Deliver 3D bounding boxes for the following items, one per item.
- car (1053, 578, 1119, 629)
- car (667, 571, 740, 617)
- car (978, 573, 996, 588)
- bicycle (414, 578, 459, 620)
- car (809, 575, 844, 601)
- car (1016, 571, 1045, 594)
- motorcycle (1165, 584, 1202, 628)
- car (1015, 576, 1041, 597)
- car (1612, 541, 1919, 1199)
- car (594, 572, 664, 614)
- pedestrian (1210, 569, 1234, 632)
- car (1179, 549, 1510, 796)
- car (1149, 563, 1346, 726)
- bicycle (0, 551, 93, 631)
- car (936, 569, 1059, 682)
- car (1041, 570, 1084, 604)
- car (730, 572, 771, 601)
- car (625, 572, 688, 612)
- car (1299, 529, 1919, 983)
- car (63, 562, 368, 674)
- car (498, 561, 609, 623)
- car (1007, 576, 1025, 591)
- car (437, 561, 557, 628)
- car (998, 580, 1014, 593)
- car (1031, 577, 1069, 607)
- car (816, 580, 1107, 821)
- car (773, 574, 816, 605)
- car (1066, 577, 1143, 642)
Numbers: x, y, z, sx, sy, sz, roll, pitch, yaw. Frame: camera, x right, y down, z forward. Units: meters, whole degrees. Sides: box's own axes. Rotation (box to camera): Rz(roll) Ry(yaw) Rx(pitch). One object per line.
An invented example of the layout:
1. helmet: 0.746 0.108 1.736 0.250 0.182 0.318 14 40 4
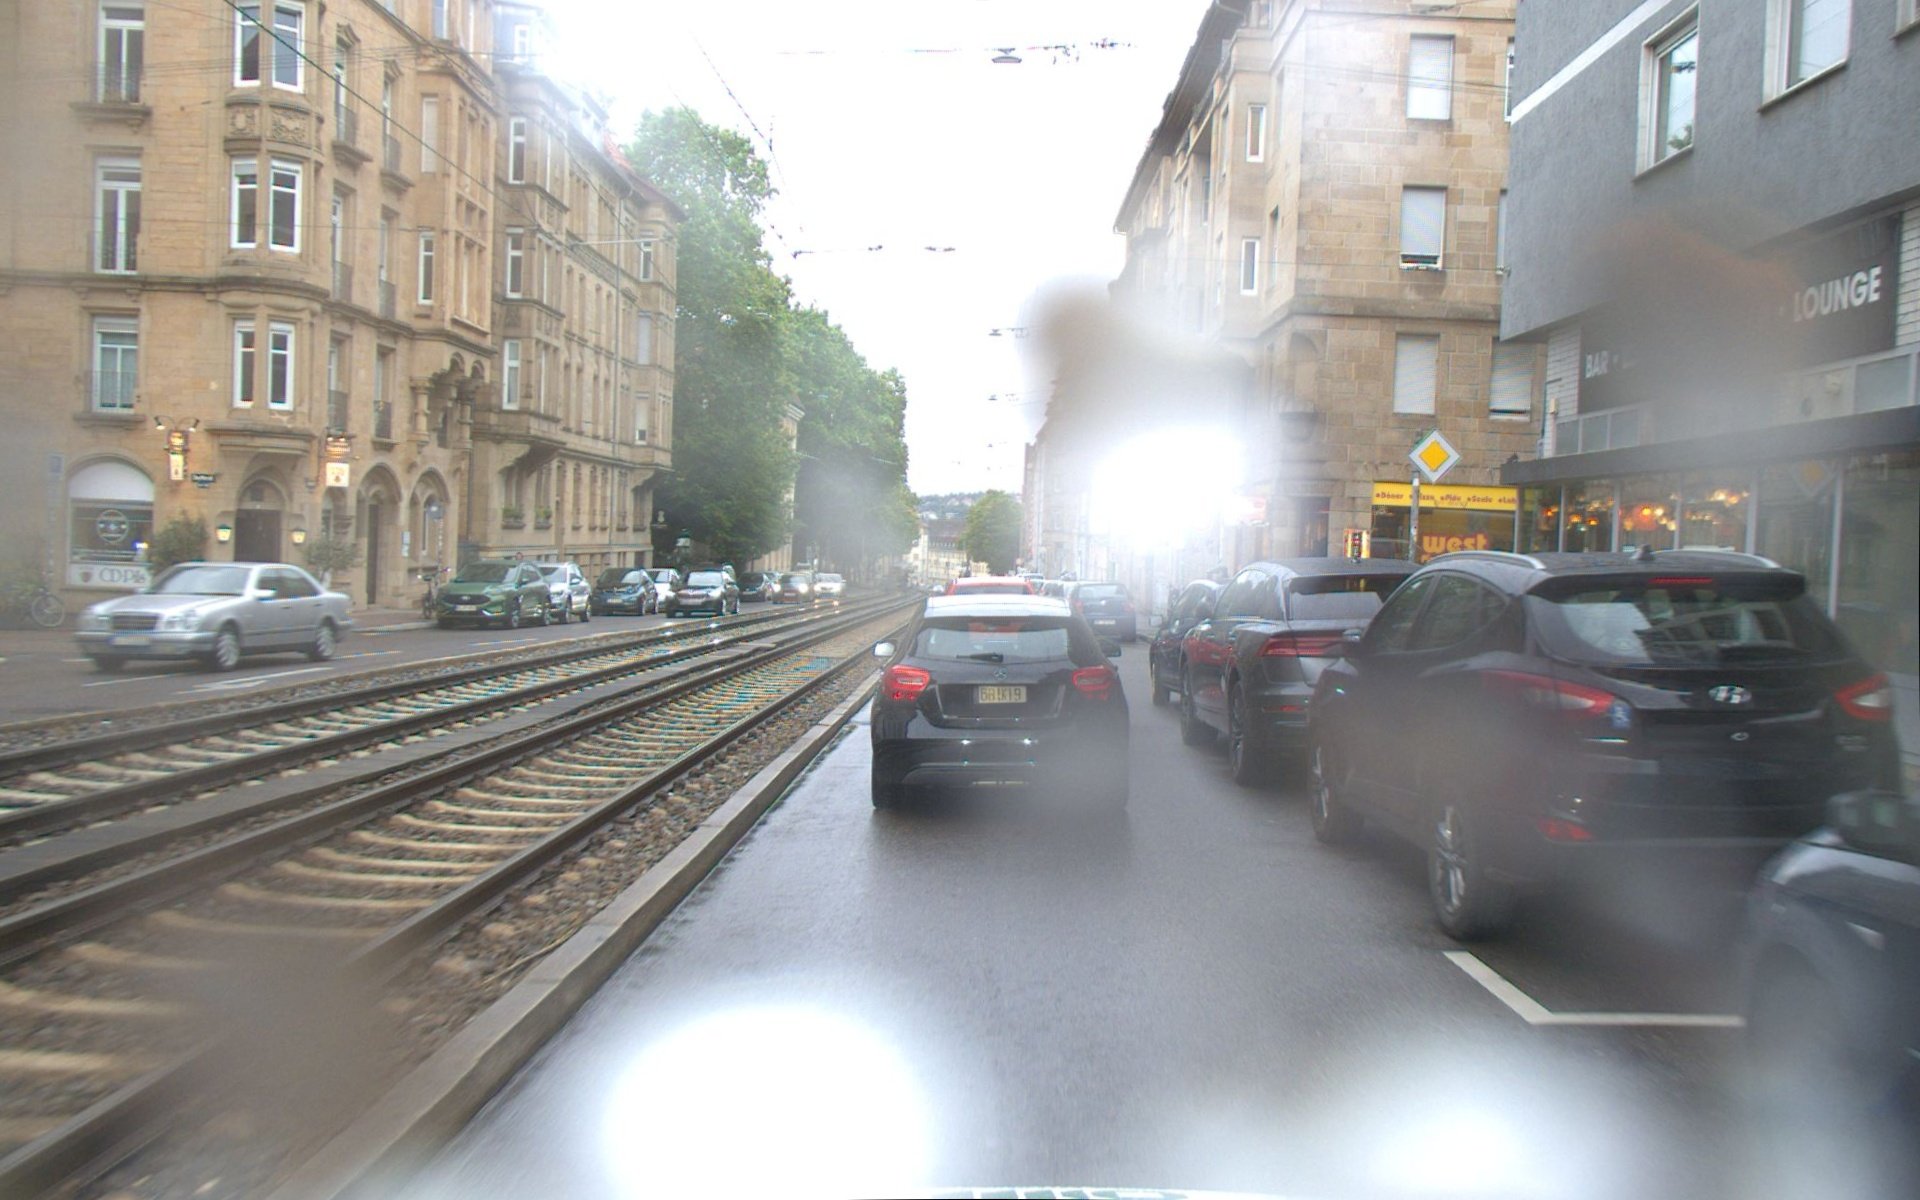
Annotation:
1. car: 3.439 0.067 45.718 1.580 1.340 4.001 0 1 1
2. car: -8.236 -0.203 53.281 1.660 1.412 3.482 0 1 2
3. car: 2.421 -1.781 149.437 1.580 1.340 4.001 0 1 1
4. bicycle: -13.238 -0.033 41.860 0.586 1.018 2.078 0 1 -3
5. car: -7.710 -0.709 95.773 1.536 1.438 3.482 0 1 2
6. car: 4.103 -1.039 96.977 1.580 1.340 4.001 0 1 1
7. motorcycle: 7.138 0.183 53.025 0.862 1.338 2.396 1 1 1
8. car: 4.407 -0.873 108.074 1.580 1.340 4.001 0 1 1
9. car: 2.841 0.689 2.710 1.729 1.586 4.746 1 1 1
10. car: -11.129 -0.248 55.793 1.536 1.339 3.482 0 1 2
11. pedestrian: 6.254 0.013 39.453 0.445 1.492 0.610 1 0 0
12. car: 2.972 0.470 13.798 1.714 1.699 4.704 0 1 1
13. car: 3.143 0.422 18.774 1.580 1.633 4.001 0 1 1
14. bicycle: -19.912 -0.204 34.241 3.087 1.612 1.595 0 1 -9
15. car: 0.527 0.305 24.337 1.615 1.477 4.001 2 1 0
16. car: 4.170 -0.527 67.629 1.580 1.340 4.001 0 1 1
17. car: -10.801 -0.697 85.397 1.536 1.438 3.482 0 1 2
18. car: -11.152 -0.319 61.049 1.536 1.438 3.482 0 1 2
19. car: 2.955 0.561 8.285 1.648 1.699 4.122 0 1 0
20. car: -10.236 0.191 23.206 1.768 1.384 4.766 1 1 5
21. car: -11.269 -0.242 46.155 1.769 1.624 4.527 0 1 2
22. car: 5.210 -1.503 154.212 1.580 1.340 4.001 1 1 1
23. car: -11.336 -0.152 40.740 1.686 1.568 3.935 0 1 2
24. car: 4.925 -1.454 177.396 1.580 1.340 4.001 0 1 1
25. car: 4.122 -0.371 76.163 1.580 1.340 4.001 0 1 1
26. car: 0.090 0.610 12.448 1.827 1.477 4.002 1 1 2
27. car: -7.856 -0.510 78.749 1.536 1.438 3.482 0 1 2
28. car: 3.496 0.185 40.666 1.588 1.510 4.001 0 1 1
